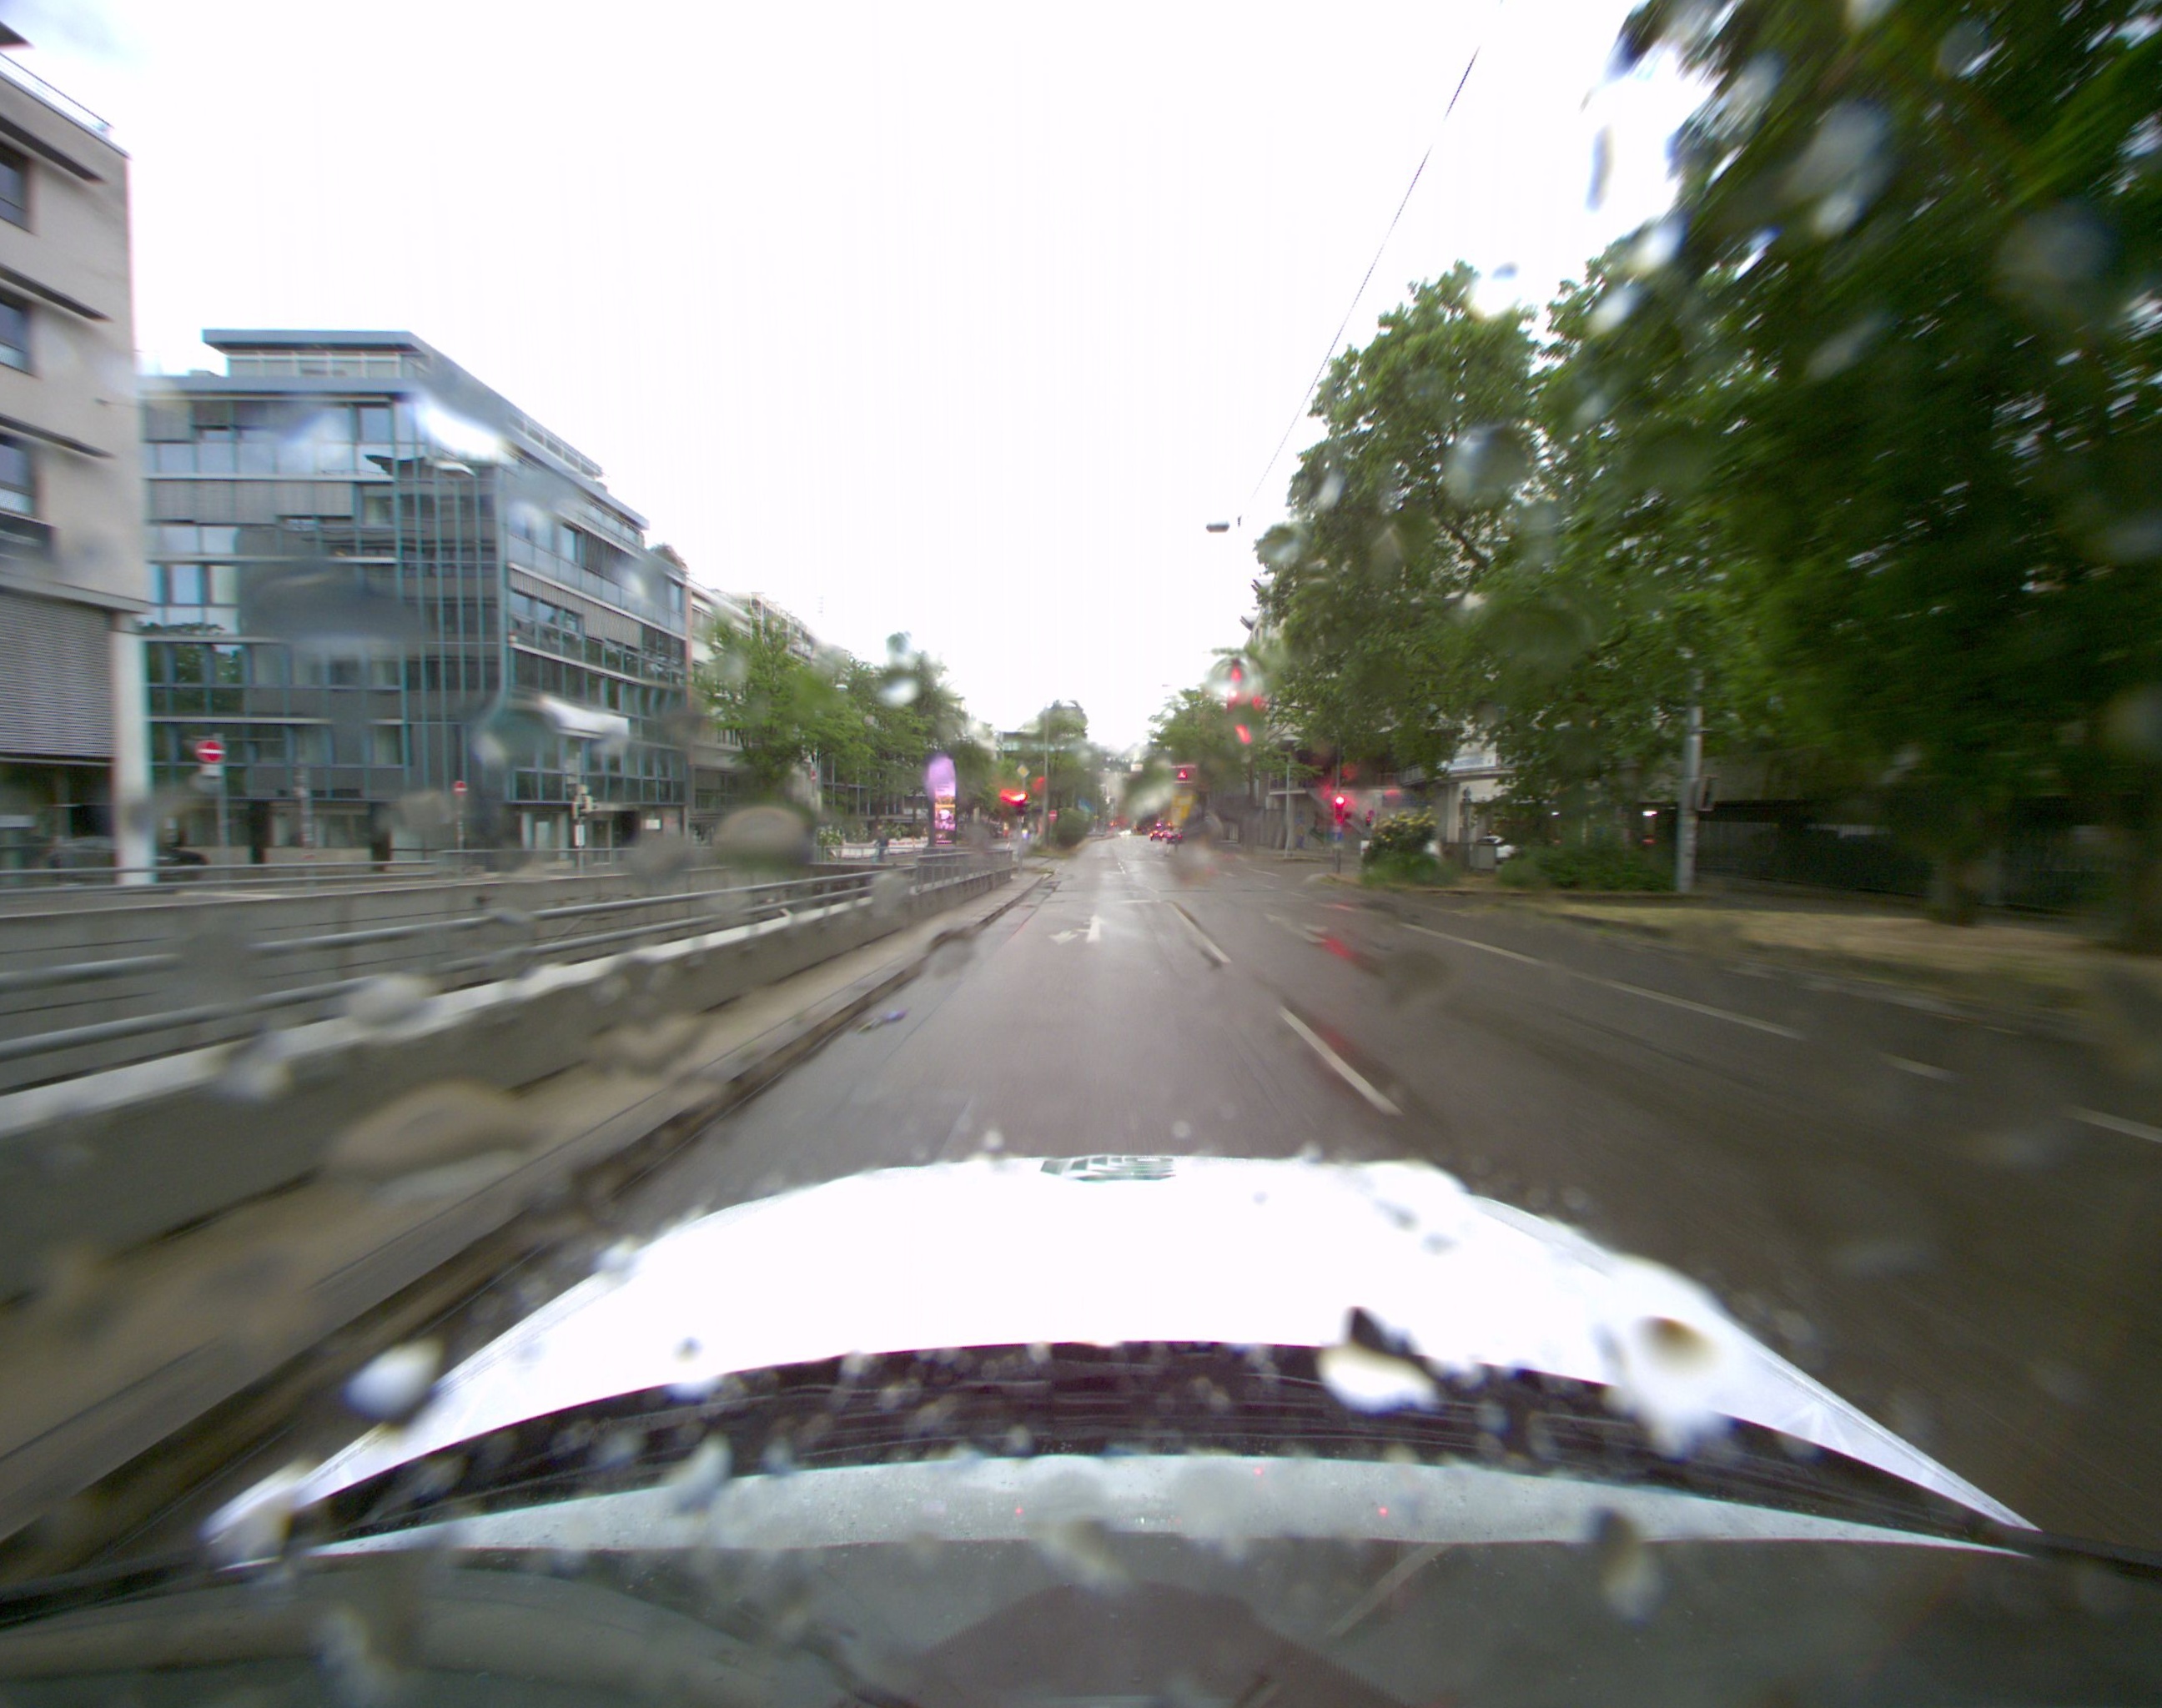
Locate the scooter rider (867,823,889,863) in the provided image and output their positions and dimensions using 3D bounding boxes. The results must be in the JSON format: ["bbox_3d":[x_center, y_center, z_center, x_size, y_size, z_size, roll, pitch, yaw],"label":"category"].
[{"bbox_3d":[-9.956,-0.540,39.904,0.816,1.948,0.812,1,1,4],"label":"scooter rider"}]

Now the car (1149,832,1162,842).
[{"bbox_3d":[11.567,-2.630,126.126,1.739,1.519,4.108,1,1,1],"label":"car"}]

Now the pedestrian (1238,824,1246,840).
[{"bbox_3d":[16.370,-2.237,82.935,0.781,1.557,0.534,1,1,9],"label":"pedestrian"}]

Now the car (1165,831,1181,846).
[{"bbox_3d":[11.410,-1.921,101.035,1.892,1.683,3.917,1,1,6],"label":"car"}]

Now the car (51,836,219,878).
[{"bbox_3d":[-33.142,0.080,28.605,3.868,1.426,1.813,0,1,3],"label":"car"}]

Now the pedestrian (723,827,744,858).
[{"bbox_3d":[-21.113,-0.693,49.451,0.874,1.868,0.867,1,1,0],"label":"pedestrian"}]

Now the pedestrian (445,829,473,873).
[{"bbox_3d":[-23.899,-0.103,31.296,0.662,1.671,0.488,0,1,0],"label":"pedestrian"}]

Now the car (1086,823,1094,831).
[{"bbox_3d":[2.748,-8.153,244.148,2.118,2.164,5.204,1,1,4],"label":"car"}]

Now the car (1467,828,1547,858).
[{"bbox_3d":[24.567,-0.631,46.920,4.362,1.683,1.738,0,1,-24],"label":"car"}]

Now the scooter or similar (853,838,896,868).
[{"bbox_3d":[-10.113,-0.061,39.943,1.941,1.418,0.548,1,1,2],"label":"scooter or similar"}]

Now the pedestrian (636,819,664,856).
[{"bbox_3d":[-22.638,-0.866,42.795,0.857,1.868,0.964,2,1,20],"label":"pedestrian"}]

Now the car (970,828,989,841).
[{"bbox_3d":[-12.590,-2.441,101.513,1.774,1.555,3.895,1,3,1],"label":"car"}]
